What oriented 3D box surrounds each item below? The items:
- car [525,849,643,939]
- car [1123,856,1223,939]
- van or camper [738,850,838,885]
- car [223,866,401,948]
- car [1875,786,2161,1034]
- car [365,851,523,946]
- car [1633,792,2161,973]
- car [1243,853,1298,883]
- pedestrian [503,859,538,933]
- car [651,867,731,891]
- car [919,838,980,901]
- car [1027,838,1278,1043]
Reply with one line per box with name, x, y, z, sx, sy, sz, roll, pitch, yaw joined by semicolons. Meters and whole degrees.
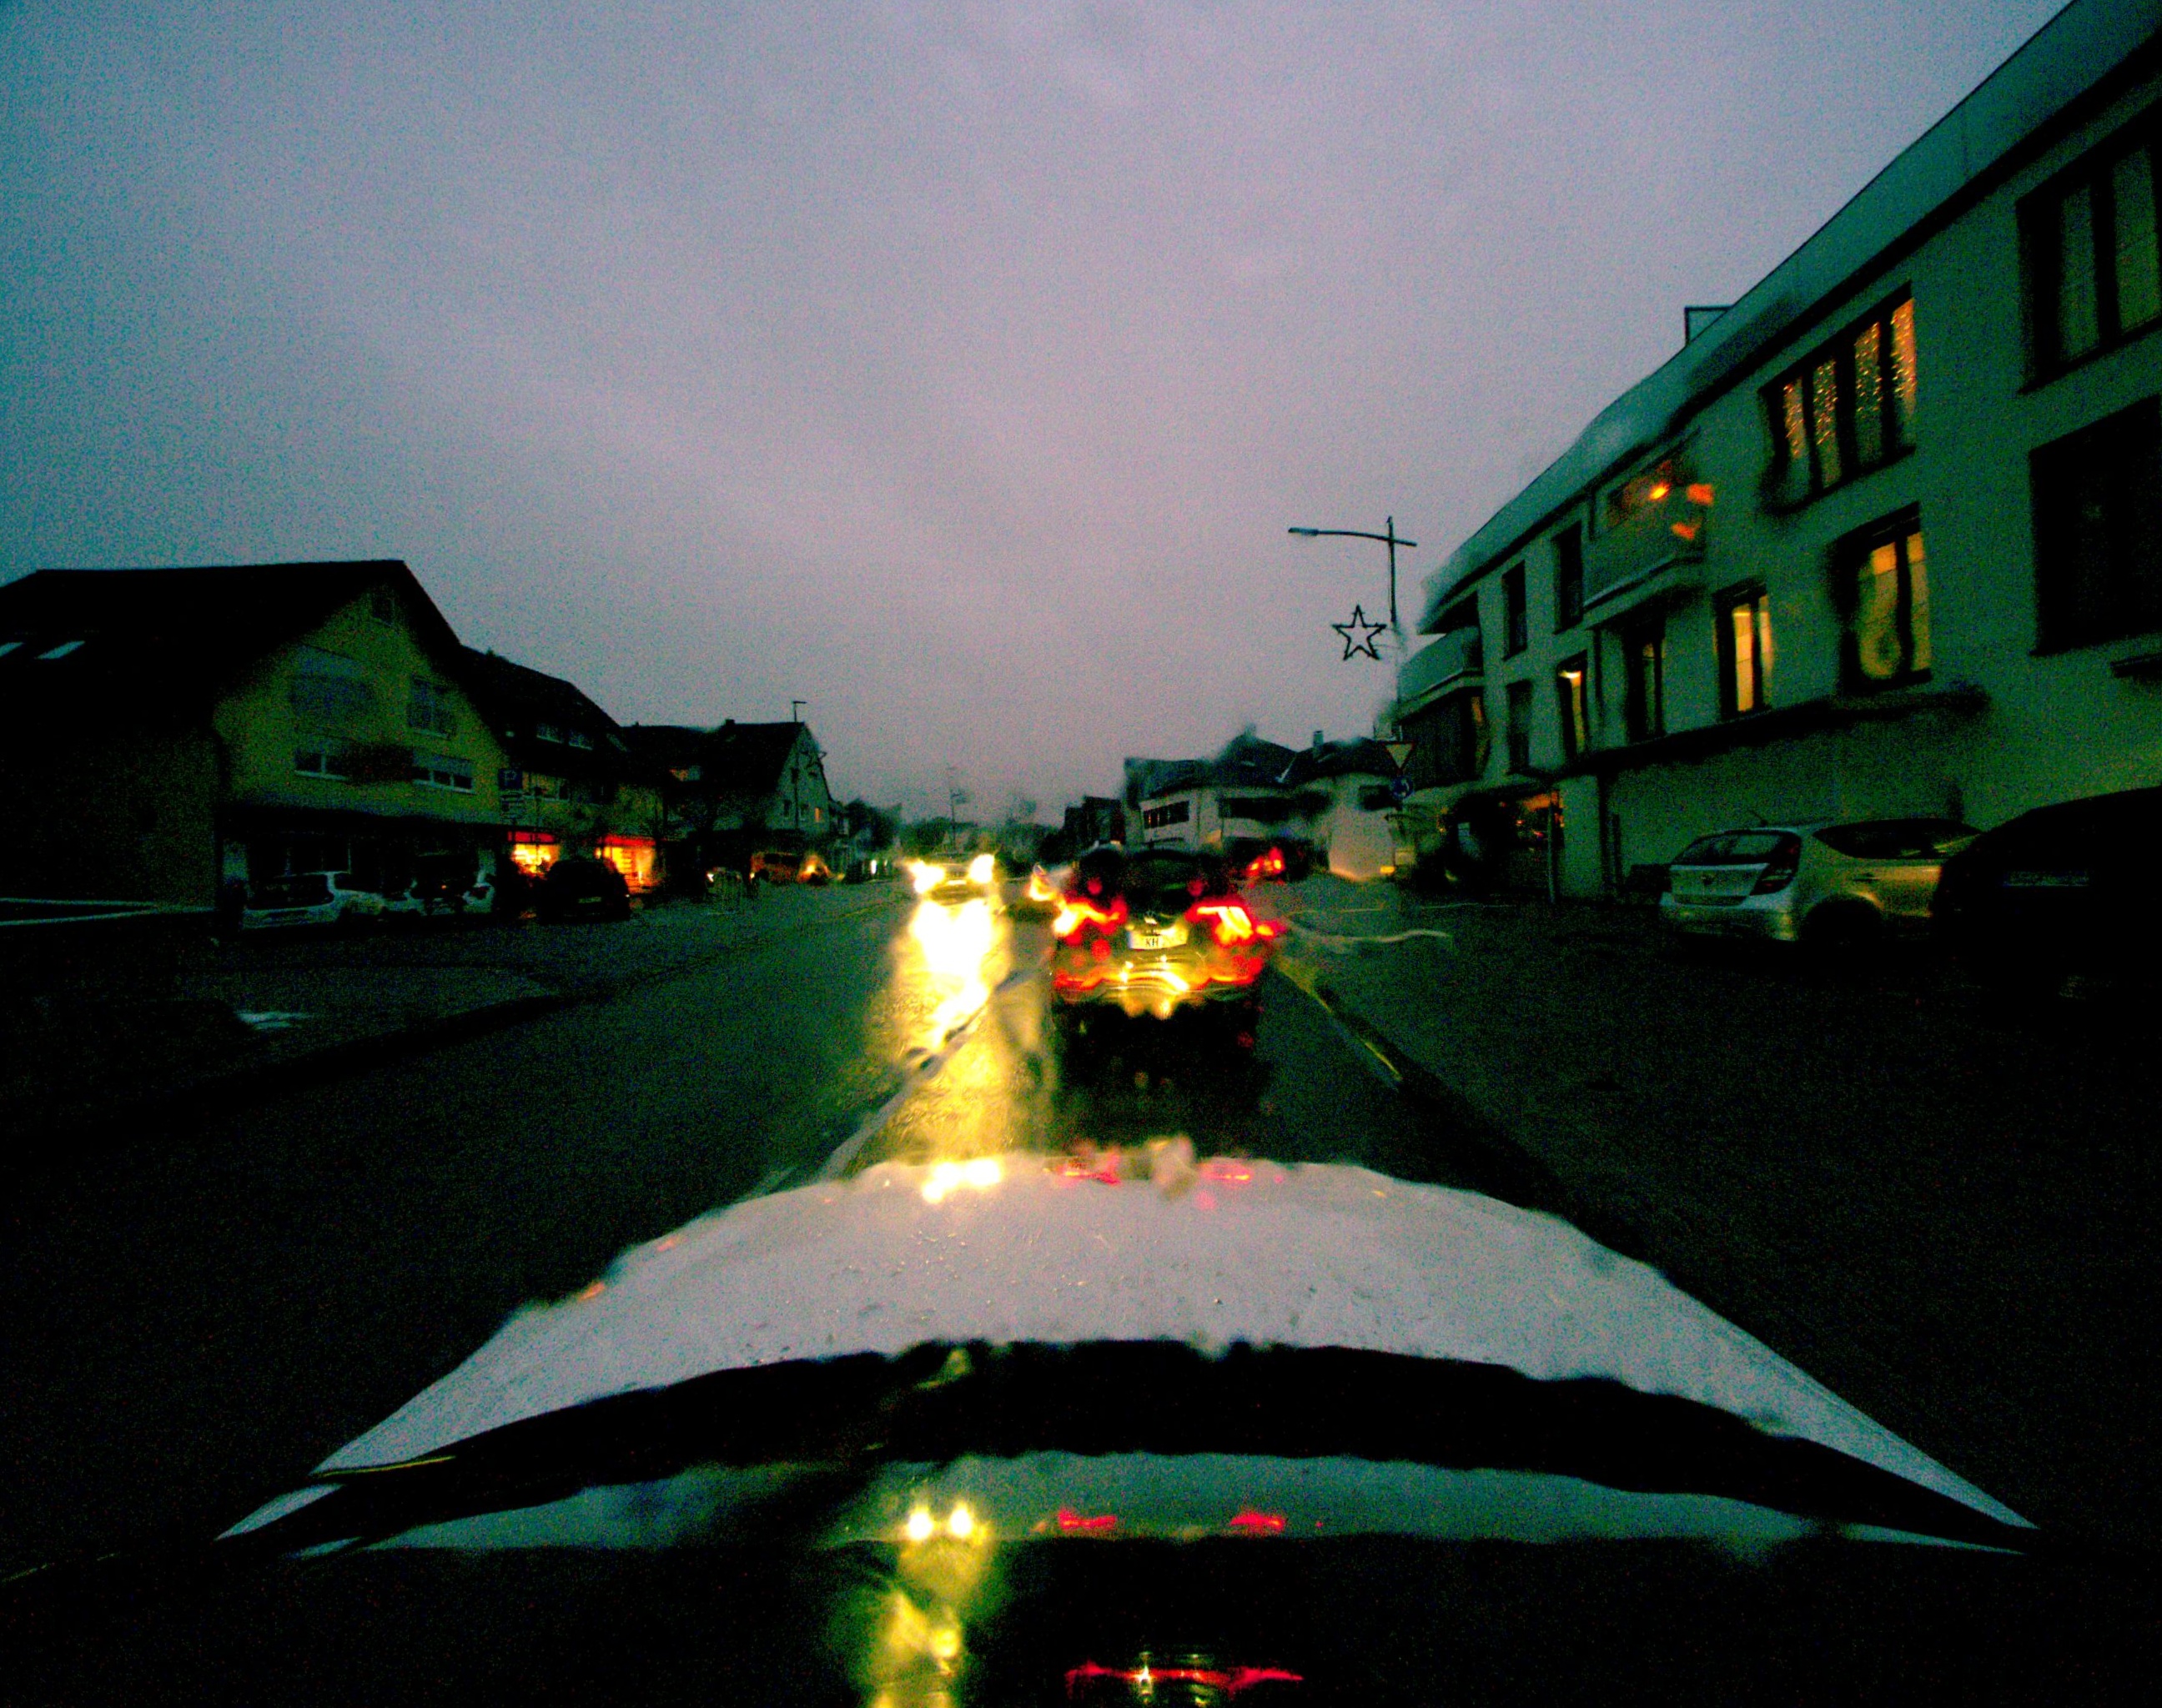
car;-12.095;0.886;20.086;2.048;1.925;4.022;-1;0;-26
car;1.720;0.764;16.271;1.676;1.453;4.002;0;0;2
van or camper;-17.327;0.817;48.109;5.484;1.954;2.010;-1;0;20
car;-17.595;1.121;18.891;1.831;1.613;4.022;-1;0;-26
car;8.368;0.205;5.616;4.198;1.460;1.790;-4;-1;-5
car;-14.690;0.930;19.062;2.048;1.925;4.022;-1;0;-26
car;8.599;0.267;8.737;4.198;1.460;1.790;-4;-1;-5
car;9.312;0.691;39.787;1.976;1.392;4.021;-1;-2;22
pedestrian;-13.343;0.983;19.397;0.498;1.701;0.707;-3;0;-26
car;-23.738;1.514;49.702;3.977;1.365;1.725;-1;0;-3
car;-4.895;0.593;30.914;1.991;2.204;4.408;1;-1;-6
car;0.633;0.673;8.533;1.957;1.594;4.315;0;0;2
